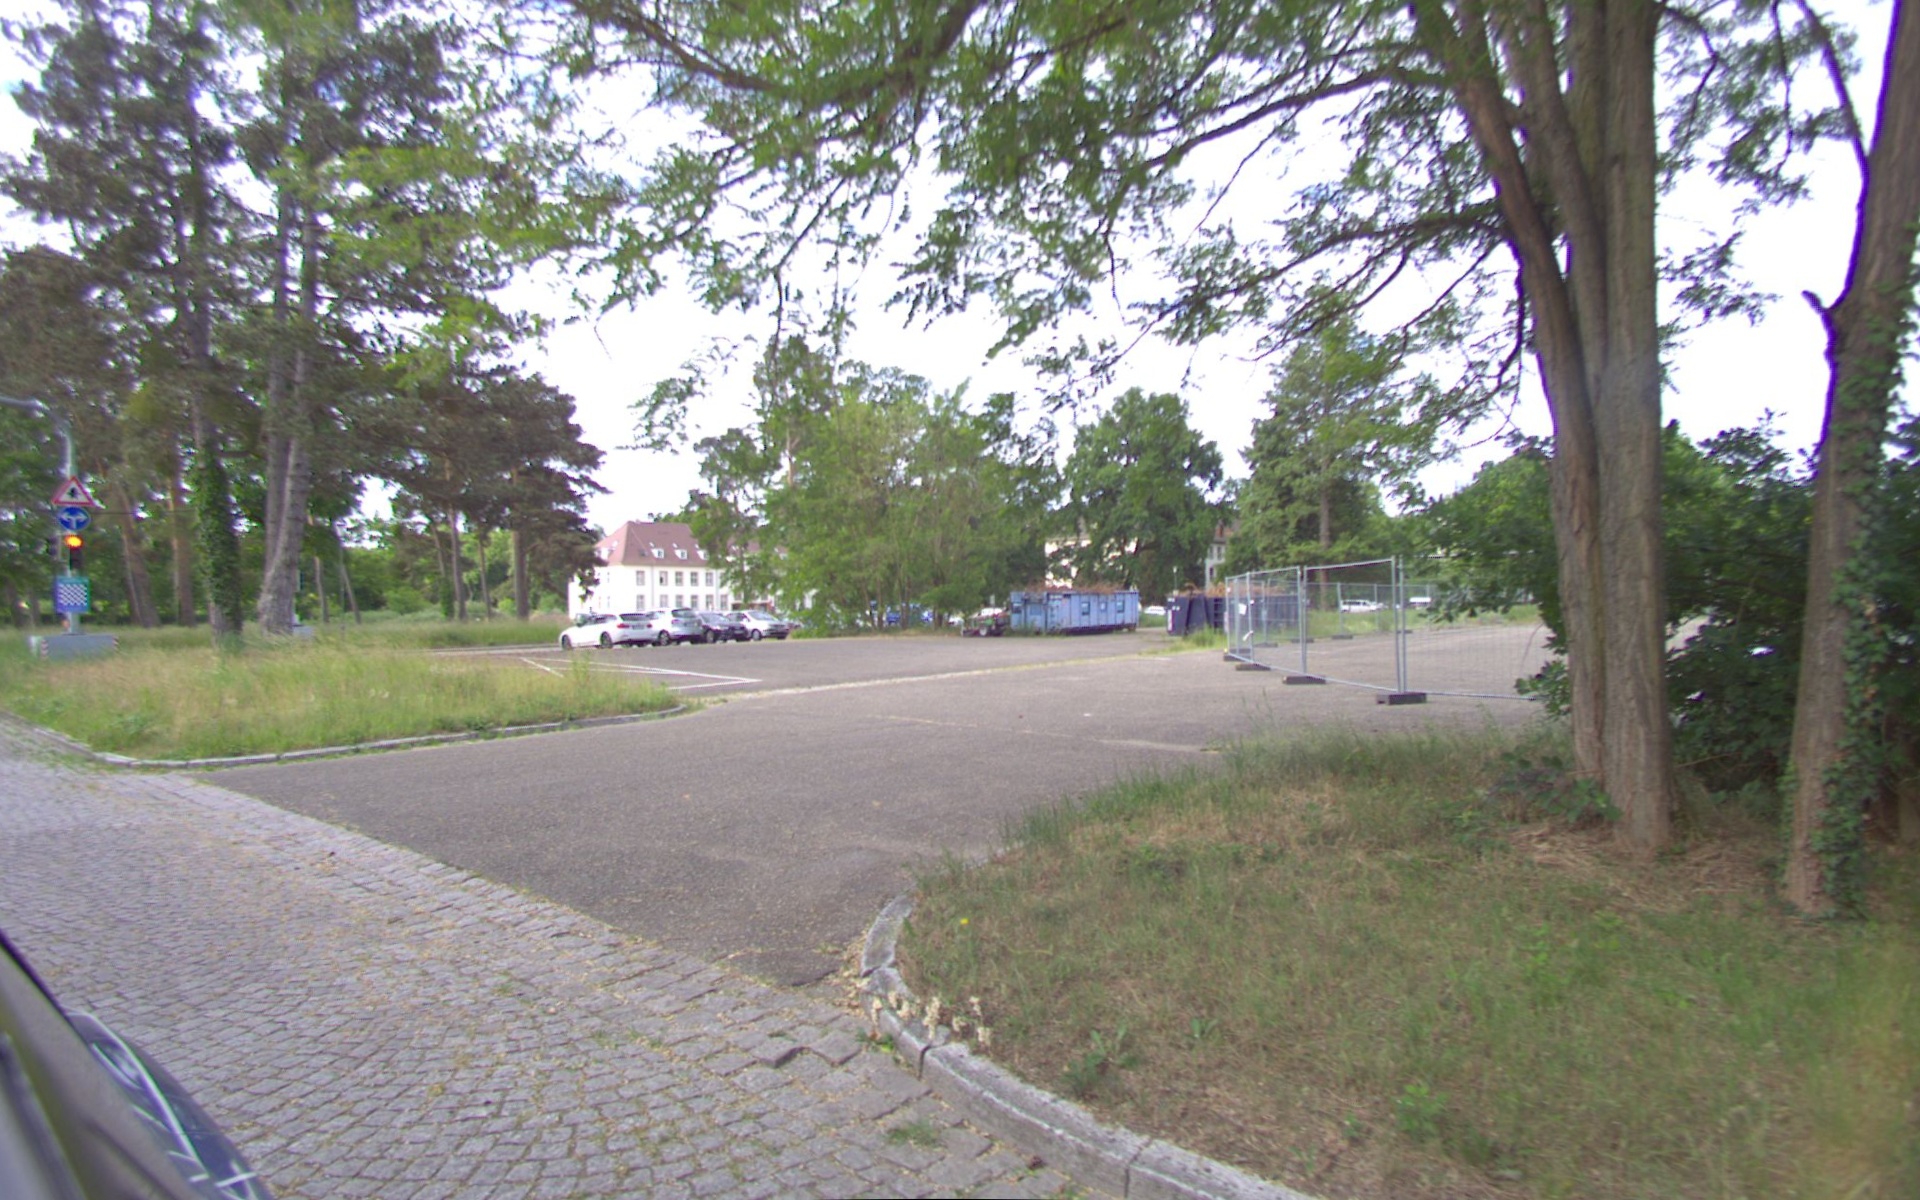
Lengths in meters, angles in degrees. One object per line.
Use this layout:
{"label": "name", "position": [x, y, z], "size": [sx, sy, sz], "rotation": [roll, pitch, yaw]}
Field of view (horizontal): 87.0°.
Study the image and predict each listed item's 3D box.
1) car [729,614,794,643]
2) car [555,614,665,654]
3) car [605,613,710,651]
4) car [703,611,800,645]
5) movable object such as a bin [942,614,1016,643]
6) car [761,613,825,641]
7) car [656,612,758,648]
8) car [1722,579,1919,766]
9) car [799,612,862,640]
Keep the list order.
{"label": "car", "position": [-11.773, 1.688, 59.999], "size": [3.796, 1.696, 1.593], "rotation": [-2, -1, 35]}
{"label": "car", "position": [-13.855, 1.333, 39.946], "size": [4.445, 1.460, 1.975], "rotation": [-2, -1, 37]}
{"label": "car", "position": [-12.635, 1.317, 42.160], "size": [4.445, 1.460, 1.975], "rotation": [-2, -1, 37]}
{"label": "car", "position": [-9.660, 1.277, 46.715], "size": [4.445, 1.460, 1.975], "rotation": [-2, -1, 37]}
{"label": "movable object such as a bin", "position": [0.714, 1.108, 39.176], "size": [2.712, 1.079, 1.046], "rotation": [-1, -1, 32]}
{"label": "car", "position": [-10.292, 1.669, 62.251], "size": [3.796, 1.696, 1.728], "rotation": [-2, -1, 35]}
{"label": "car", "position": [-11.079, 1.296, 44.184], "size": [4.445, 1.460, 1.975], "rotation": [-2, -1, 37]}
{"label": "car", "position": [8.309, 0.535, 7.911], "size": [3.718, 1.421, 1.649], "rotation": [-2, -1, 38]}
{"label": "car", "position": [-8.149, 1.640, 63.730], "size": [3.796, 1.696, 1.728], "rotation": [-2, -1, 35]}
